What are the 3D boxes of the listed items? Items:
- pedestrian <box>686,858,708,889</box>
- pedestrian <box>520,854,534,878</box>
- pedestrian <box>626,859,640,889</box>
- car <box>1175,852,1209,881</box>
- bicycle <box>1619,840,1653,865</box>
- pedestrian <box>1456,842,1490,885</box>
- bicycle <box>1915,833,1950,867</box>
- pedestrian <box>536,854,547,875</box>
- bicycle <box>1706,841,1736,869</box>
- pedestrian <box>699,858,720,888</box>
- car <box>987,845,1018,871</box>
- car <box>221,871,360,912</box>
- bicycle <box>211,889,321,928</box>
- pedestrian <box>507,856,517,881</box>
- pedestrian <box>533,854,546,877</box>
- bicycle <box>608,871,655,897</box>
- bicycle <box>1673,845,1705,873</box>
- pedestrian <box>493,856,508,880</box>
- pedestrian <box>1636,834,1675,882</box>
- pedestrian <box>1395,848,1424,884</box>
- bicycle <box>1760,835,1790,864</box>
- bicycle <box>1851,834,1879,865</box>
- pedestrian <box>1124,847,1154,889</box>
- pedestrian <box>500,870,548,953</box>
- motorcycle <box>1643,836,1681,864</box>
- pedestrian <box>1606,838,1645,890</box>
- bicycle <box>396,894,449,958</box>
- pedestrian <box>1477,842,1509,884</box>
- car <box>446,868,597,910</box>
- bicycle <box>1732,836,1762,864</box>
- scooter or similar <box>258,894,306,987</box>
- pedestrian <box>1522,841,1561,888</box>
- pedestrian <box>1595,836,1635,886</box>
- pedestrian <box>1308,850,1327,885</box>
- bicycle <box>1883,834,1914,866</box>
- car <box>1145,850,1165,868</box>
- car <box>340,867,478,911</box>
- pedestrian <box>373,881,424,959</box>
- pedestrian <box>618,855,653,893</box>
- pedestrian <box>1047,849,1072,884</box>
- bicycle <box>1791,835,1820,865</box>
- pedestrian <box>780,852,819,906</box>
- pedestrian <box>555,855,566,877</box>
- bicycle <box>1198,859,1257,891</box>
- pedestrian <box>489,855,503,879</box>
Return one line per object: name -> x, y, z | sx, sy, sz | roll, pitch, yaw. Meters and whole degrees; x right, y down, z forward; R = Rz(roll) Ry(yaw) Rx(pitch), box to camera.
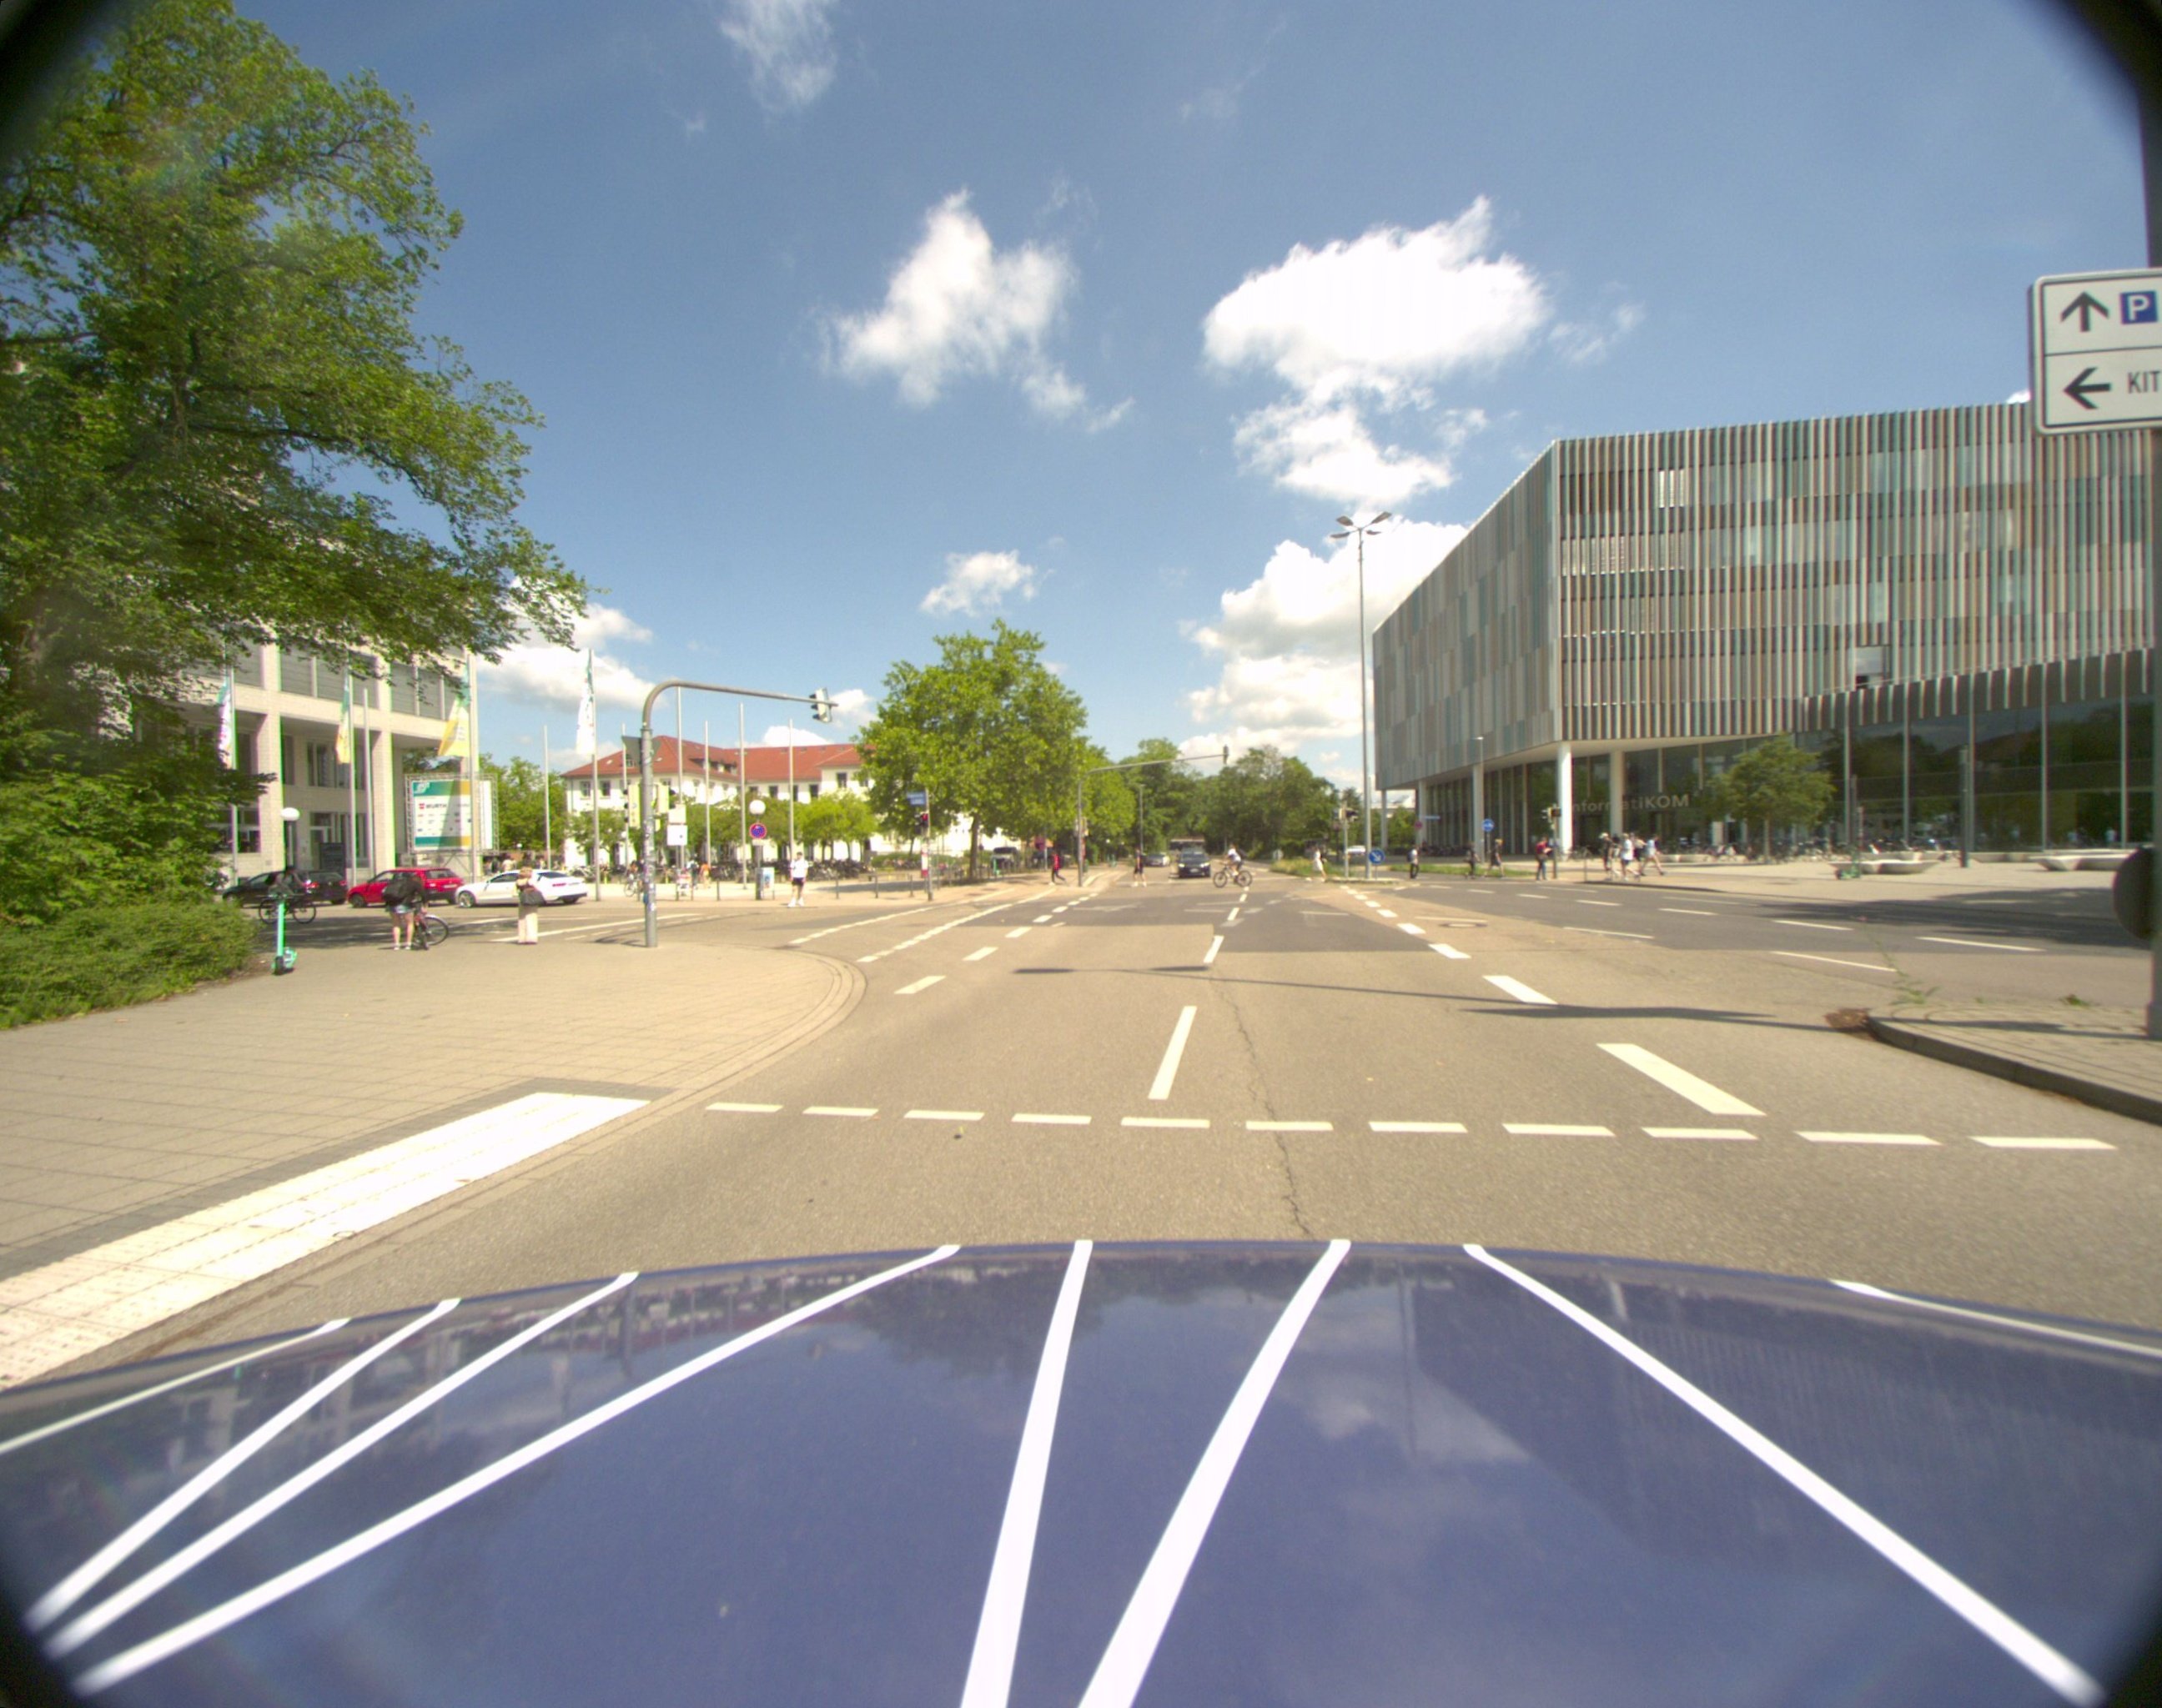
pedestrian -> -20.744, 1.051, 41.089 | 0.833, 1.613, 0.686 | 0, 2, 35
pedestrian -> -44.691, 0.957, 61.319 | 0.676, 1.892, 0.800 | -2, 2, -25
pedestrian -> -23.995, 1.085, 40.687 | 0.540, 1.581, 0.434 | -2, 1, -44
car -> 6.405, 0.685, 44.206 | 1.845, 1.593, 4.002 | -1, 0, 7
bicycle -> 34.819, -0.128, 47.652 | 2.692, 1.485, 0.930 | -2, 1, -36
pedestrian -> 17.602, 0.419, 34.147 | 0.879, 1.915, 0.970 | -2, 1, -16
bicycle -> 40.959, -0.208, 36.589 | 3.421, 1.543, 0.997 | -2, 1, -44
pedestrian -> -50.849, 0.996, 71.612 | 0.676, 1.892, 0.800 | -2, 2, -25
bicycle -> 37.304, 0.056, 44.266 | 3.421, 1.543, 0.997 | -2, 1, -44
pedestrian -> -20.455, 1.036, 41.849 | 0.833, 1.613, 0.686 | 0, 2, 33
car -> -6.411, 0.314, 62.677 | 1.998, 2.043, 4.229 | -1, 0, 1
car -> -31.238, 1.457, 30.099 | 3.925, 1.439, 1.743 | -1, 1, 7
bicycle -> -22.869, 1.518, 21.362 | 2.163, 0.993, 0.647 | -1, 1, -8
pedestrian -> -40.000, 0.999, 53.410 | 0.473, 1.704, 0.382 | -2, 2, -24
pedestrian -> -44.440, 0.956, 62.384 | 0.676, 1.892, 0.800 | -2, 2, -25
bicycle -> -20.385, 1.353, 34.486 | 2.049, 1.128, 0.691 | -1, 1, 21
bicycle -> 36.515, 0.278, 45.587 | 3.421, 1.543, 1.049 | -2, 1, -44
pedestrian -> -46.383, 1.094, 60.705 | 0.676, 1.892, 0.800 | -2, 2, -25
pedestrian -> 23.565, 0.173, 31.197 | 1.106, 1.915, 0.973 | -1, 1, 28
pedestrian -> 15.256, 0.556, 35.308 | 0.878, 1.619, 0.972 | -2, 1, 2
bicycle -> 38.594, -0.249, 42.226 | 3.421, 1.543, 0.997 | -2, 1, -44
bicycle -> 40.326, -0.232, 39.081 | 3.421, 1.543, 0.997 | -2, 1, -44
pedestrian -> 2.722, 0.653, 35.517 | 1.029, 1.915, 0.974 | -1, 1, 30
pedestrian -> -11.445, 1.160, 15.614 | 0.633, 1.617, 0.647 | 0, 2, 45
motorcycle -> 35.622, -0.233, 46.558 | 3.304, 1.630, 0.969 | -2, 1, -36
pedestrian -> 20.483, 0.359, 28.602 | 1.106, 1.915, 0.974 | -1, 1, 32
bicycle -> -12.767, 1.363, 14.713 | 0.673, 1.136, 1.659 | 1, -2, -44
pedestrian -> 19.007, 0.404, 35.072 | 0.878, 1.915, 0.972 | -2, 1, -1
car -> -21.103, 1.303, 28.755 | 4.437, 1.389, 1.835 | -1, 1, 5
bicycle -> 37.925, -0.255, 43.269 | 3.421, 1.543, 0.997 | -2, 1, -44
scooter or similar -> -11.501, 1.205, 10.955 | 0.438, 1.226, 1.227 | 0, -1, -44
pedestrian -> 19.031, 0.418, 31.436 | 1.107, 1.915, 0.973 | -1, 1, 11
pedestrian -> 20.951, 0.268, 29.838 | 1.106, 1.915, 0.973 | -1, 1, 25
pedestrian -> 10.127, 0.581, 32.532 | 0.591, 1.495, 0.416 | -2, 1, -9
bicycle -> 41.103, -0.231, 38.250 | 3.422, 1.543, 0.997 | -2, 1, -44
car -> 7.402, 0.489, 75.781 | 1.911, 1.772, 4.001 | -1, 0, 6
car -> -26.016, 1.332, 29.488 | 3.813, 1.548, 1.773 | -1, 1, 4
pedestrian -> -12.956, 1.224, 14.423 | 0.786, 1.408, 0.657 | -1, -1, 45
pedestrian -> -22.660, 1.021, 38.650 | 1.320, 1.838, 0.701 | -3, 1, 7
pedestrian -> -1.036, 0.581, 36.345 | 1.063, 1.588, 0.971 | -2, 1, -6
bicycle -> 39.073, -0.237, 40.949 | 3.421, 1.543, 0.997 | -2, 1, -44
pedestrian -> -9.968, 0.878, 26.926 | 0.878, 1.862, 0.972 | -2, 1, 5
pedestrian -> -37.795, 0.879, 55.177 | 0.474, 1.527, 0.560 | -3, 2, -44
bicycle -> 5.949, 0.834, 30.901 | 2.159, 1.244, 0.887 | -1, 1, 38
pedestrian -> -46.535, 1.017, 60.446 | 0.676, 1.892, 0.800 | -2, 2, -25
